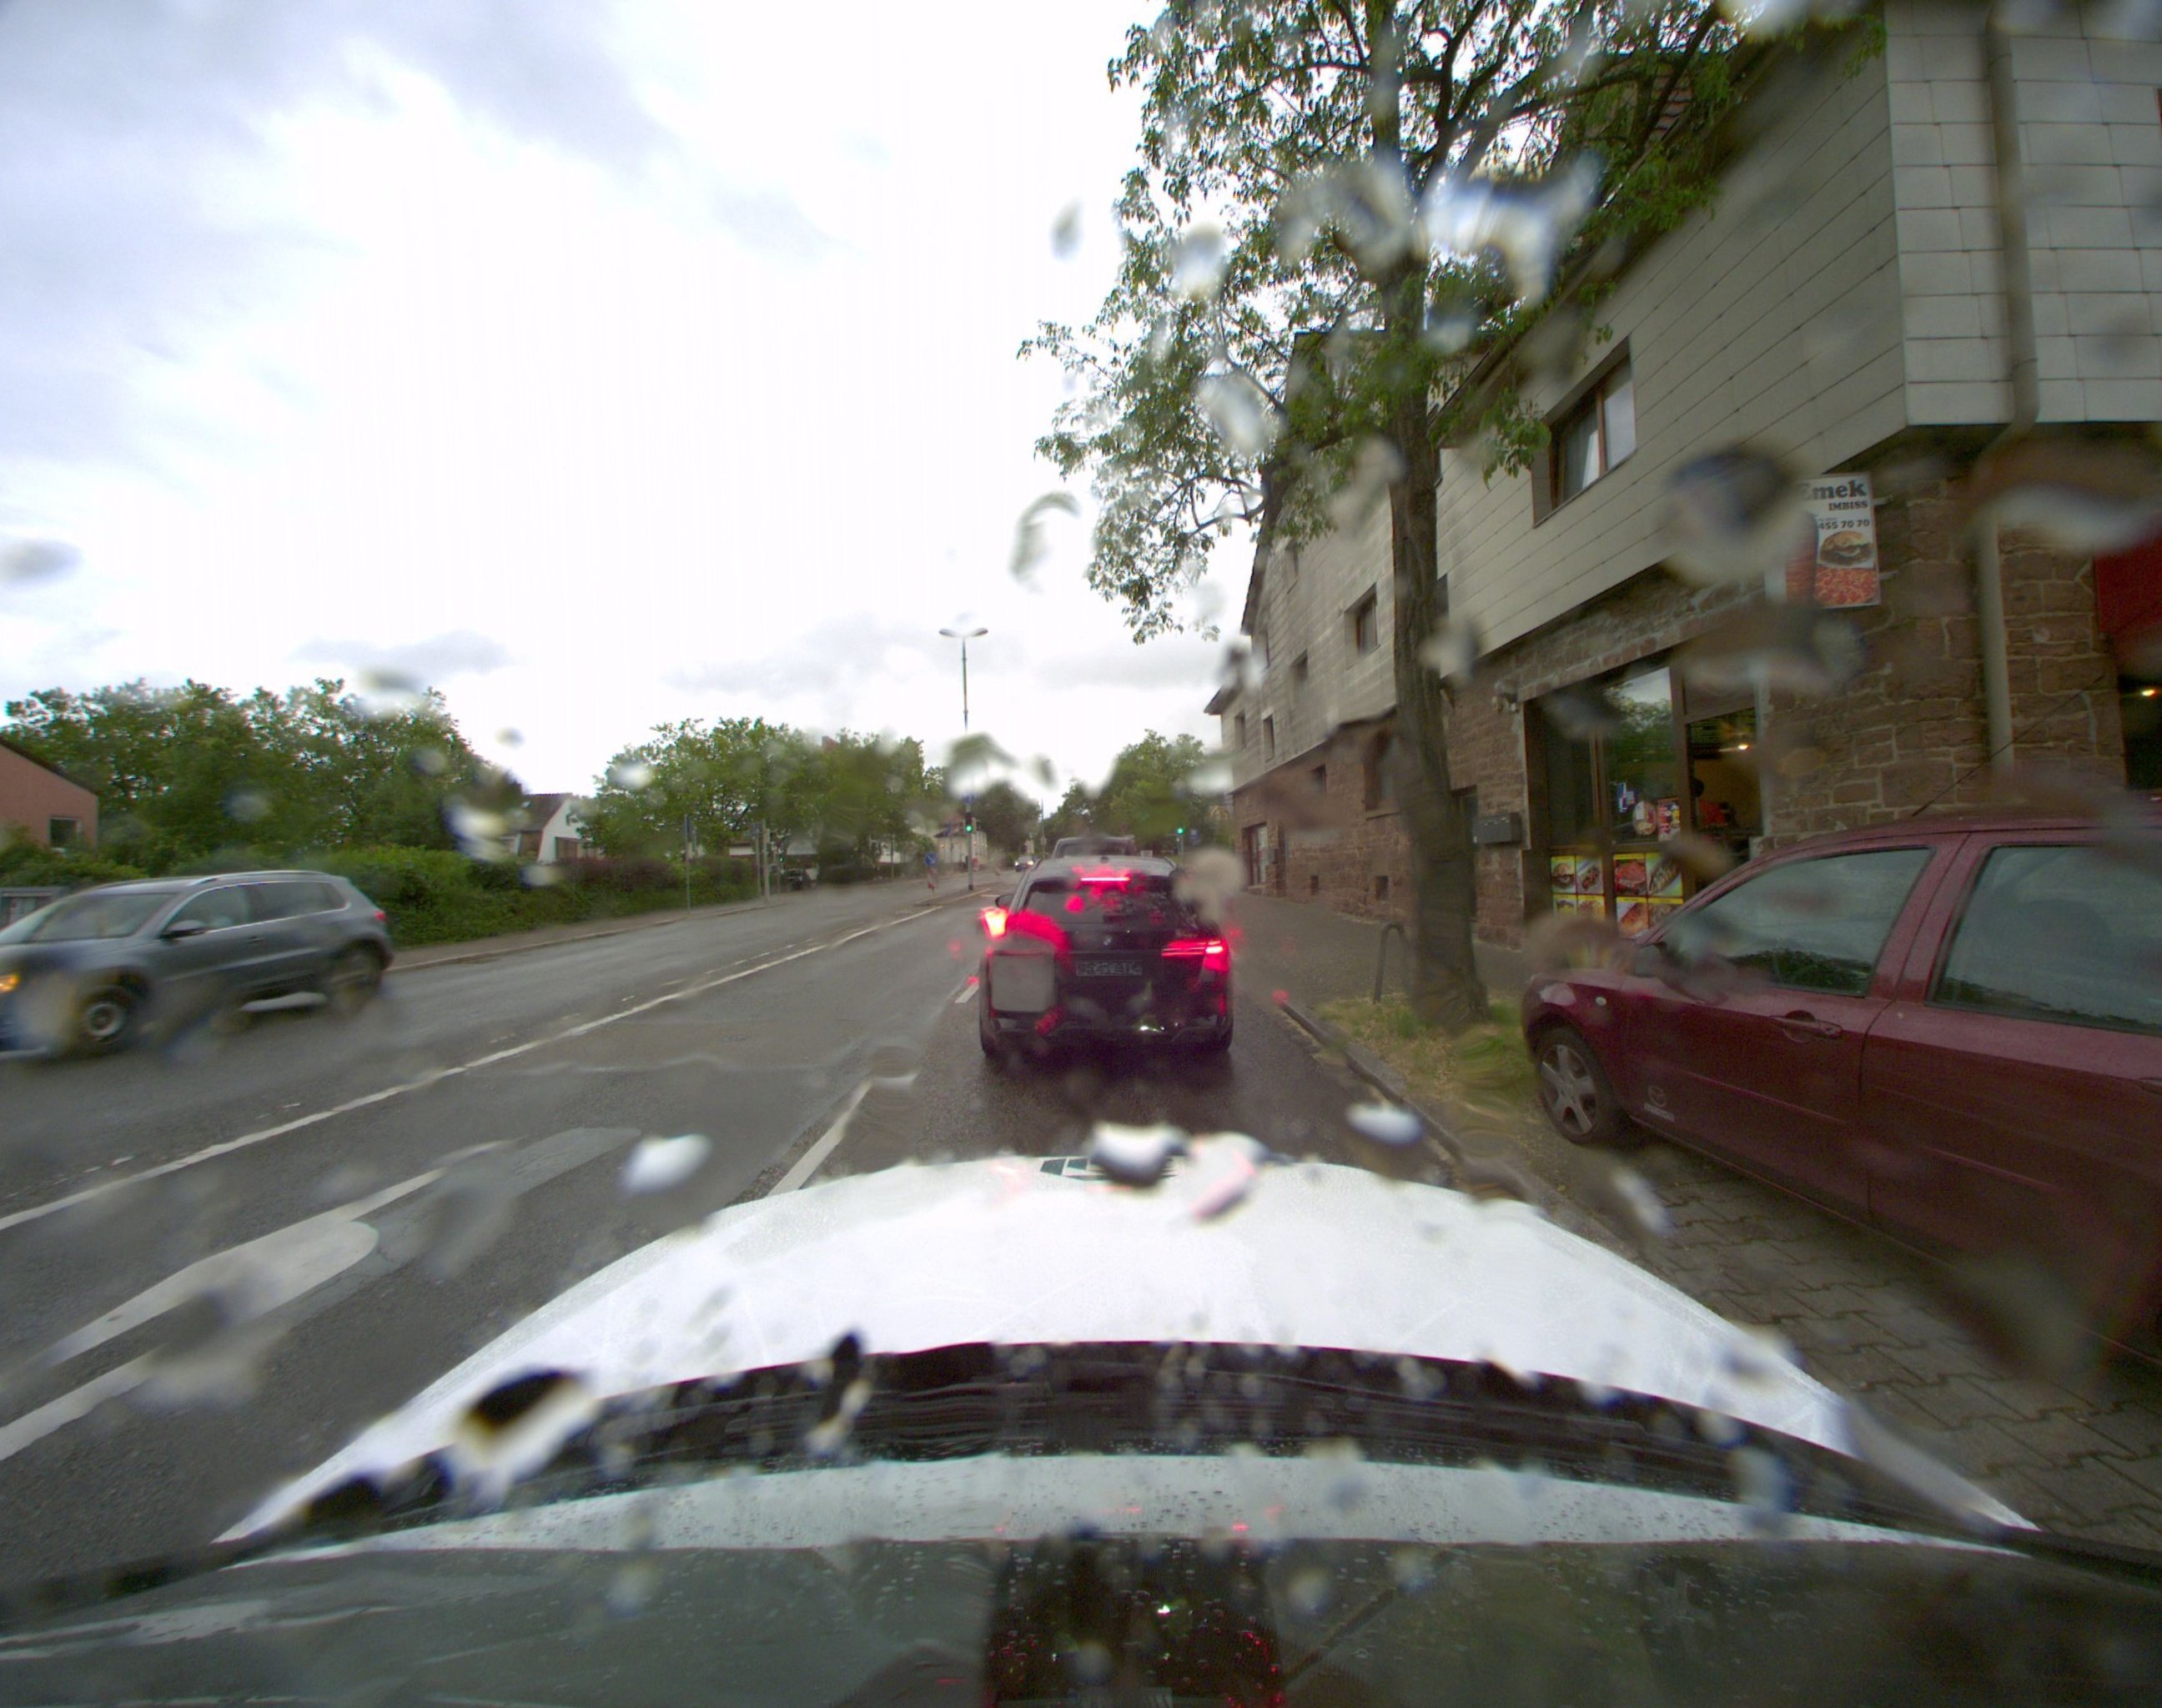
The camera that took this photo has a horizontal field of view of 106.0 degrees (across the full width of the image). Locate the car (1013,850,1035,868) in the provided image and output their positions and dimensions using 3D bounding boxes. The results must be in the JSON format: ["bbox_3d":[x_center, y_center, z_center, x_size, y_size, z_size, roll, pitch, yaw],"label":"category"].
[{"bbox_3d":[-5.669,0.492,80.901,1.893,1.577,4.500,-2,1,-1],"label":"car"}]

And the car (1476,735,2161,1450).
[{"bbox_3d":[3.059,0.532,2.698,1.606,1.504,3.754,0,-2,-1],"label":"car"}]

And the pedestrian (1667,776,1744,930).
[{"bbox_3d":[6.916,-0.013,9.031,0.490,1.660,0.455,0,-1,1],"label":"pedestrian"}]

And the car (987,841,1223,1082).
[{"bbox_3d":[0.126,0.705,7.033,1.519,1.534,3.530,0,-1,-1],"label":"car"}]

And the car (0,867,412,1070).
[{"bbox_3d":[-9.815,1.014,8.607,1.903,1.590,4.315,-3,0,-1],"label":"car"}]

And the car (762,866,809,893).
[{"bbox_3d":[-20.972,1.766,57.976,1.803,1.551,4.001,0,3,0],"label":"car"}]

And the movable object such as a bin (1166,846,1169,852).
[{"bbox_3d":[12.242,-0.718,115.212,0.446,0.906,0.465,-1,-1,17],"label":"movable object such as a bin"}]

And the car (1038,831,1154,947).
[{"bbox_3d":[0.203,0.559,14.636,1.807,1.809,3.754,0,-1,-1],"label":"car"}]
